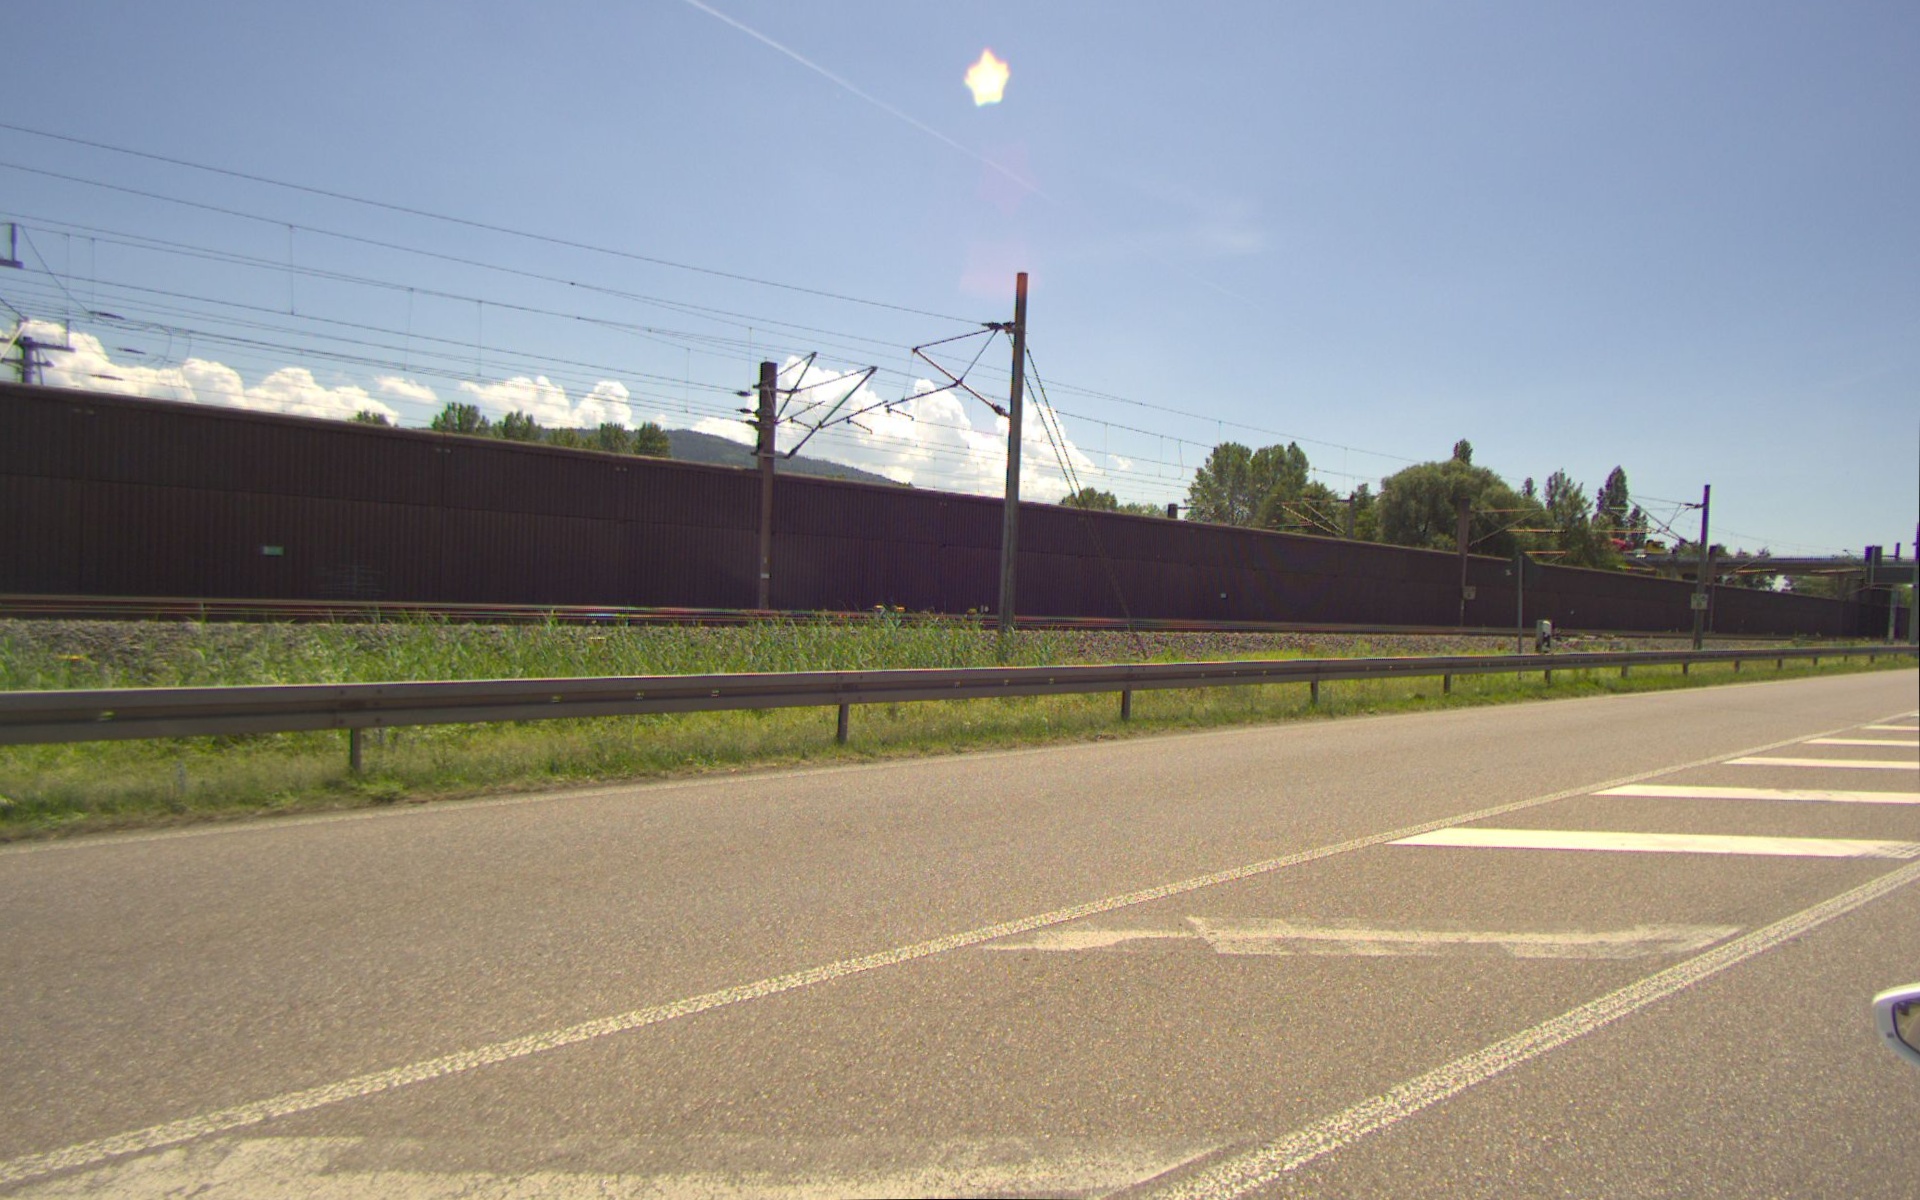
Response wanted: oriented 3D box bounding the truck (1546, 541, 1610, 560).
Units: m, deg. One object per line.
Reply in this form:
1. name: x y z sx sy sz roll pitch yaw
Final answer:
1. truck: 96.964 -7.753 157.657 1.981 2.710 8.435 2 0 -36

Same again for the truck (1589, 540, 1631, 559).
1. truck: 99.625 -7.667 153.999 1.981 2.710 5.053 1 0 -37
